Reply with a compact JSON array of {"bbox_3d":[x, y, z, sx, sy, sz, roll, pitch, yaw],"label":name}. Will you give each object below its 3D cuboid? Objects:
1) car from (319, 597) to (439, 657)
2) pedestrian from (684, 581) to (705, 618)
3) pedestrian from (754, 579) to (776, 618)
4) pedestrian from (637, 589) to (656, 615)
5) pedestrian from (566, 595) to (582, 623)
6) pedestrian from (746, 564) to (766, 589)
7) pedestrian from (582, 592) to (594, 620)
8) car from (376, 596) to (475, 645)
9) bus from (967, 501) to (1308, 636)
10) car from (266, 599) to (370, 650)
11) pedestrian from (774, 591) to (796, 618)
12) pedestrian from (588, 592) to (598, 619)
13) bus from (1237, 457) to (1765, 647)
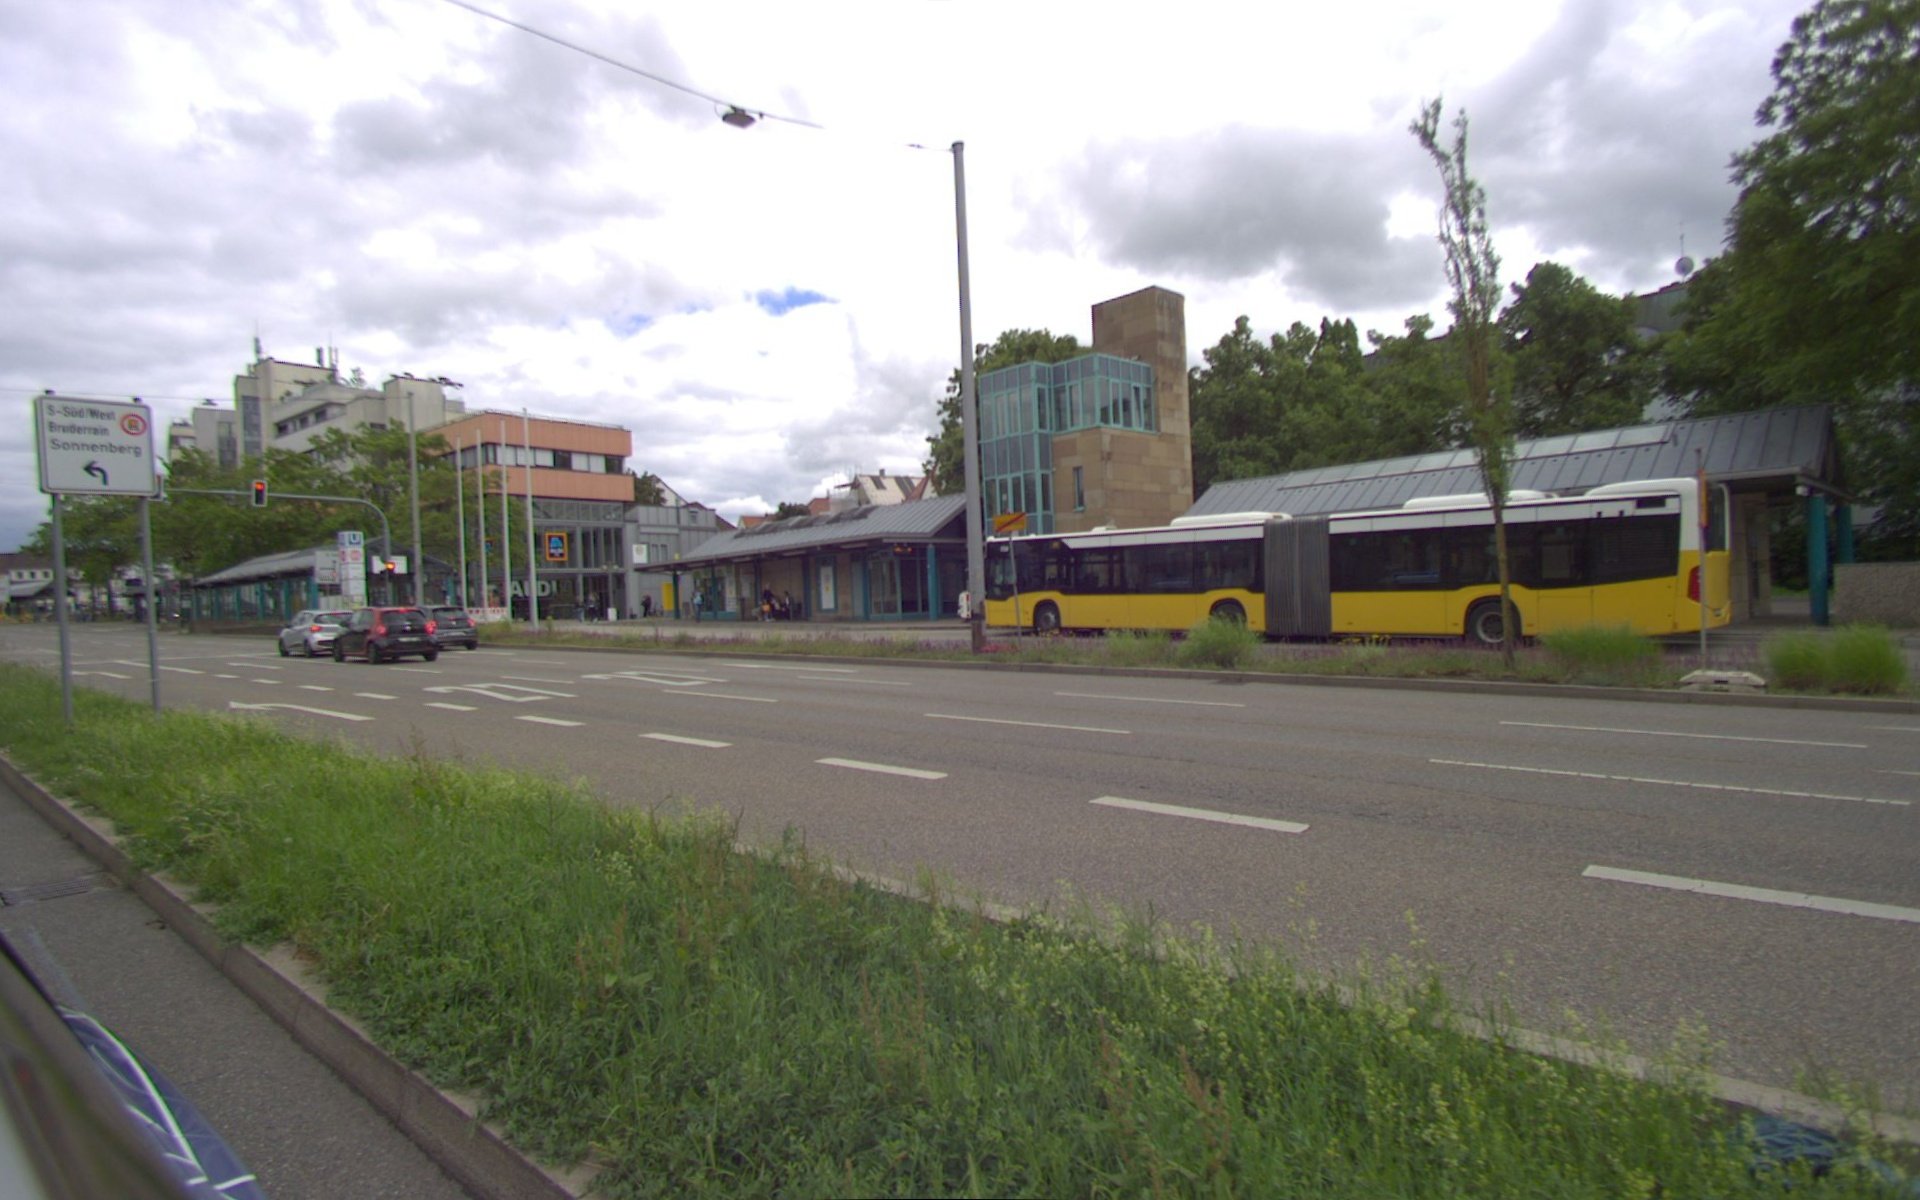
[{"bbox_3d":[-15.975,0.700,27.765,3.766,1.519,1.642,0,1,40],"label":"car"},{"bbox_3d":[-11.767,-0.024,44.838,0.658,1.661,0.612,-1,1,44],"label":"pedestrian"},{"bbox_3d":[-8.410,-0.065,43.636,0.658,1.661,0.612,-1,1,44],"label":"pedestrian"},{"bbox_3d":[-18.079,0.108,58.370,0.992,1.472,0.583,-1,1,43],"label":"pedestrian"},{"bbox_3d":[-22.050,0.530,57.815,0.523,1.559,0.754,-2,1,-45],"label":"pedestrian"},{"bbox_3d":[-9.108,-1.045,45.134,0.658,1.129,0.612,-1,1,44],"label":"pedestrian"},{"bbox_3d":[-21.333,0.336,58.060,0.380,1.559,0.482,-1,1,17],"label":"pedestrian"},{"bbox_3d":[-18.104,0.663,34.221,4.001,1.519,1.795,0,1,44],"label":"car"},{"bbox_3d":[4.496,-0.749,27.979,2.743,3.155,9.447,-4,2,-43],"label":"bus"},{"bbox_3d":[-20.325,0.772,31.990,3.787,1.476,1.727,-2,0,41],"label":"car"},{"bbox_3d":[-7.498,0.189,43.337,0.658,1.129,0.612,-1,1,44],"label":"pedestrian"},{"bbox_3d":[-21.318,0.313,58.792,0.378,1.559,0.485,-2,1,-2],"label":"pedestrian"},{"bbox_3d":[10.697,-0.832,21.221,2.776,3.155,9.311,-5,2,-42],"label":"bus"}]
